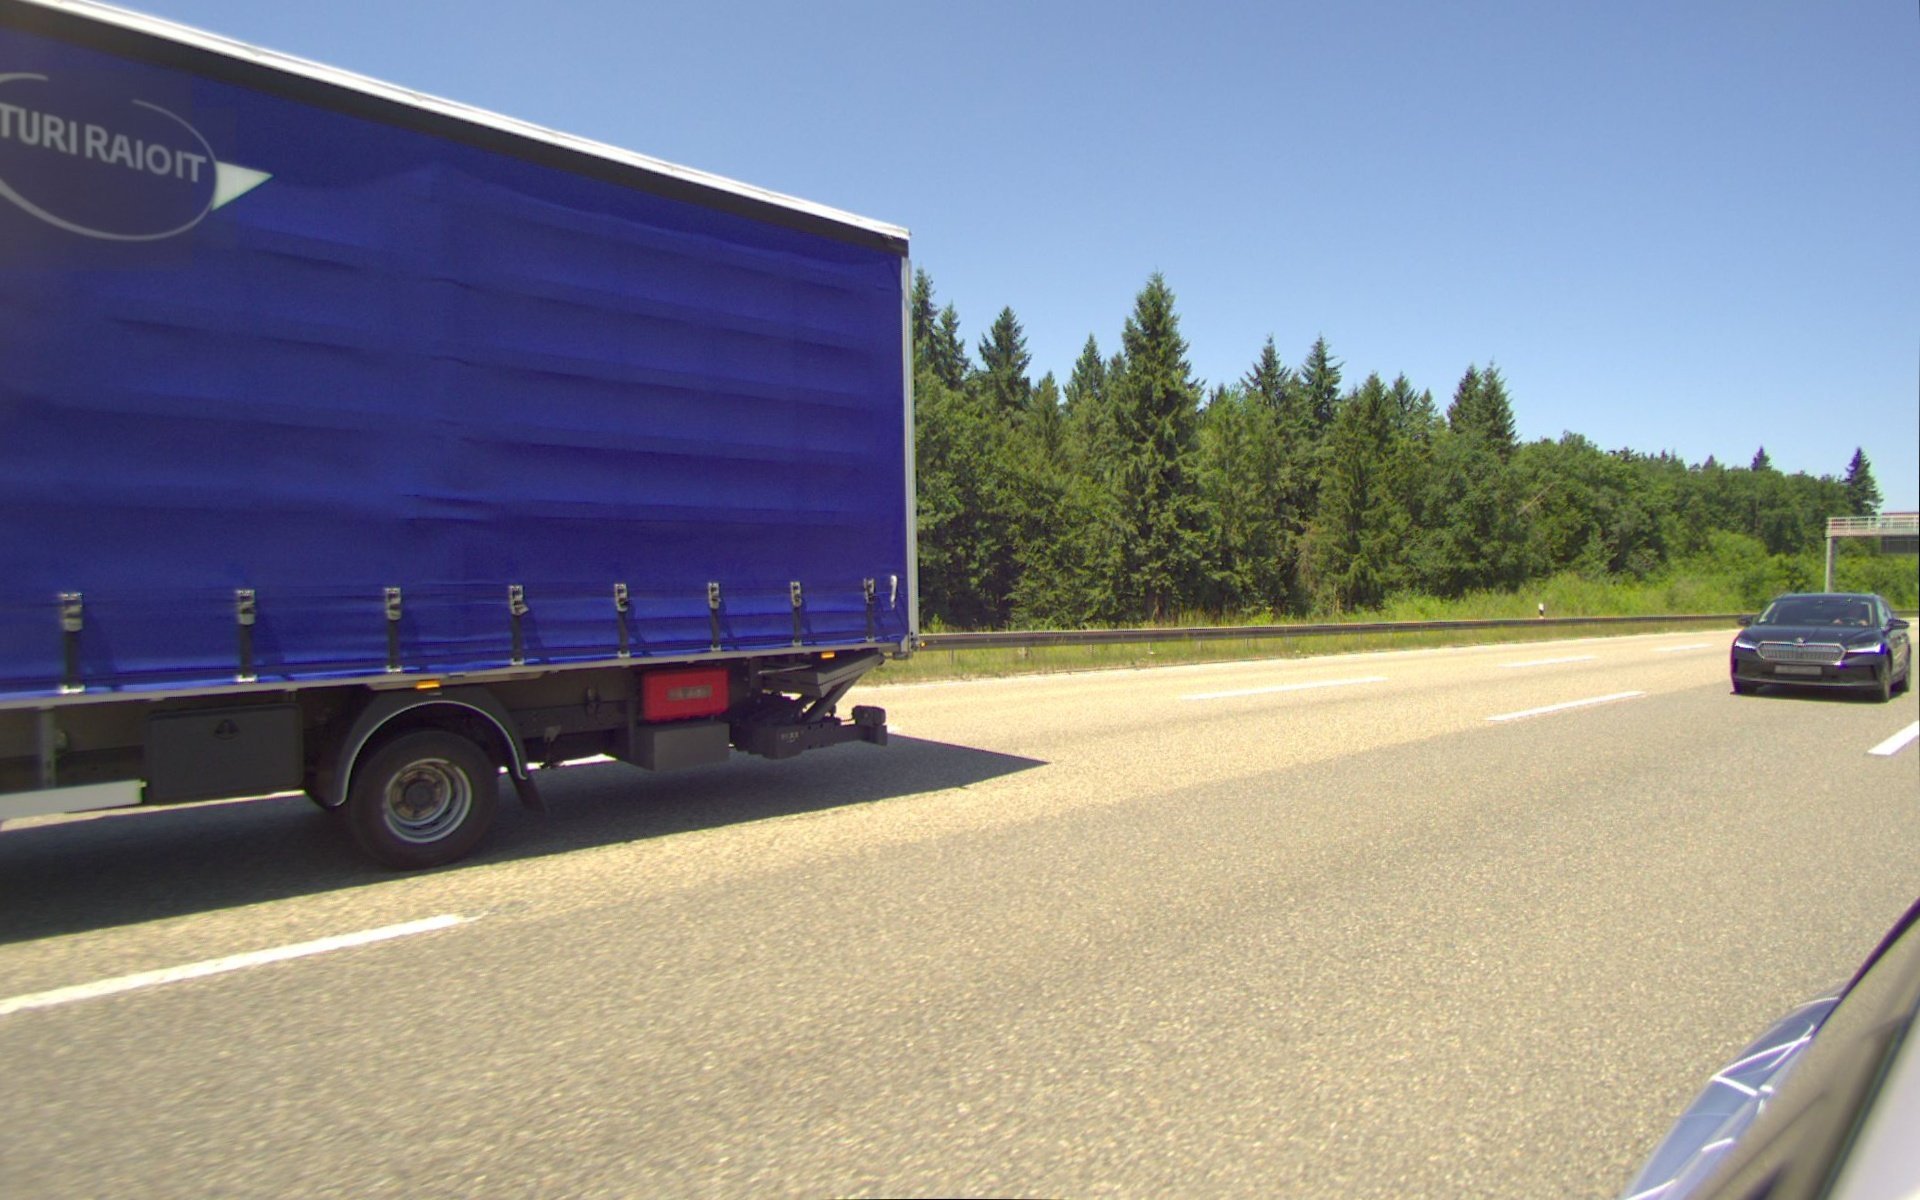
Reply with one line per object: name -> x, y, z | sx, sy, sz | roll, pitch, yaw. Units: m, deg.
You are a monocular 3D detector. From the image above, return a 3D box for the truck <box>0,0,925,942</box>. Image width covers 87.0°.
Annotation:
truck -> -4.714, -0.750, 5.010 | 9.574, 4.180, 2.786 | -1, 0, -42

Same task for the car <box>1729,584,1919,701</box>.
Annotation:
car -> 14.258, 0.580, 16.388 | 4.379, 1.639, 1.988 | -1, 0, -40
